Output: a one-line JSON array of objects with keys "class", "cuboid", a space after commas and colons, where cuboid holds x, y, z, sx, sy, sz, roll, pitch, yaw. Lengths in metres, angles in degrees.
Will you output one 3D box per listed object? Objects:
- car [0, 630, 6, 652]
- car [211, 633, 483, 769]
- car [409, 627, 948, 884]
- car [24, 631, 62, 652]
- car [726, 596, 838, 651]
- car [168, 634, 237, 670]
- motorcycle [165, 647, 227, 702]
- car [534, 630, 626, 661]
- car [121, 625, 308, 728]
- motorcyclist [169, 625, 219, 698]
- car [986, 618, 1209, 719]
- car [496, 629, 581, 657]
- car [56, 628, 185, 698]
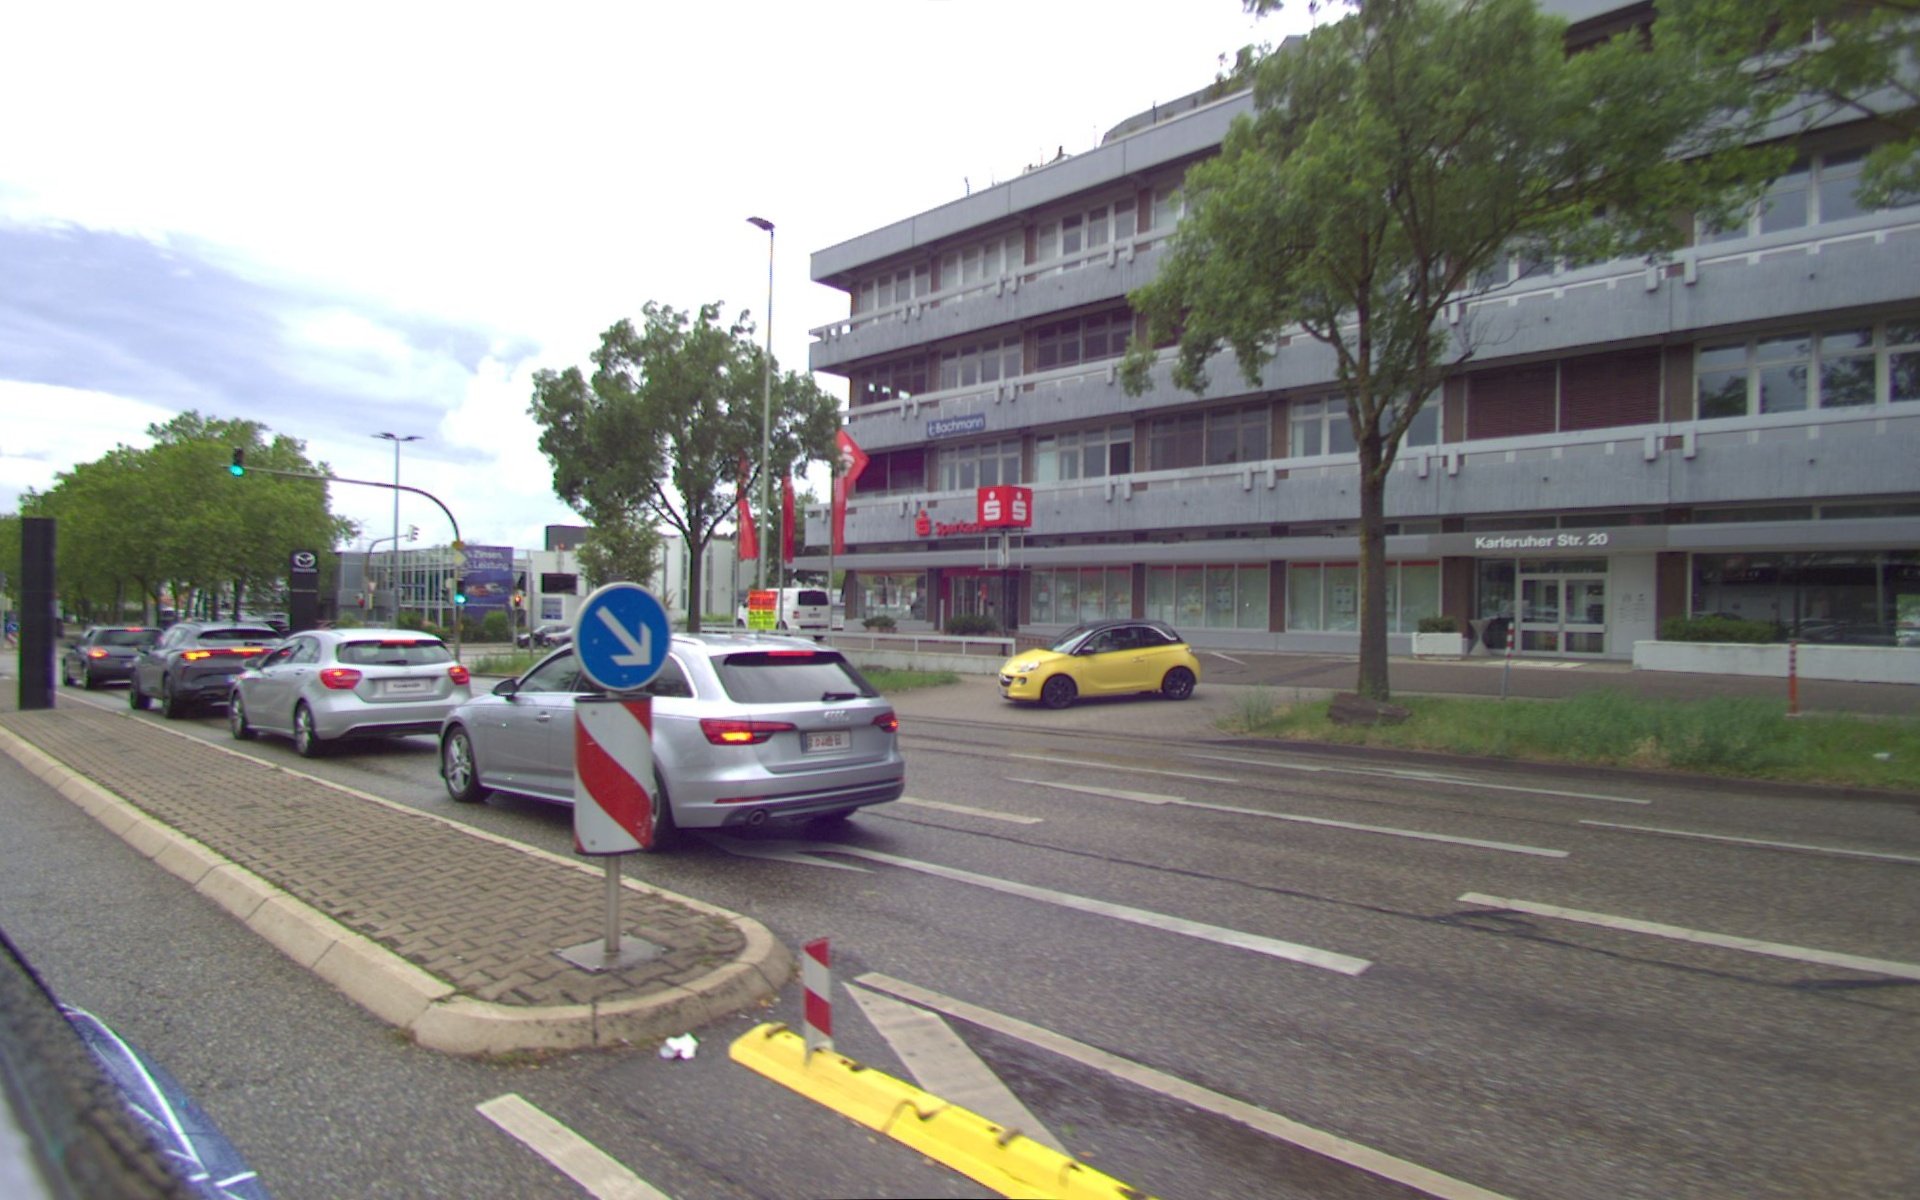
[{"class": "car", "cuboid": [-69.892, 2.953, 72.637, 3.999, 1.522, 1.731, -2, -4, 42]}, {"class": "car", "cuboid": [-7.668, 1.138, 12.524, 3.998, 1.417, 1.722, -2, -4, 41]}, {"class": "car", "cuboid": [-2.387, 0.956, 7.812, 4.614, 1.417, 1.765, -2, -4, 41]}, {"class": "car", "cuboid": [-71.185, 3.231, 78.547, 3.999, 1.587, 1.731, -2, -4, 42]}, {"class": "car", "cuboid": [-7.091, 0.906, 39.913, 1.970, 2.029, 4.890, -1, 0, -43]}, {"class": "car", "cuboid": [-34.961, 2.365, 46.679, 3.998, 1.522, 1.775, -1, 0, 42]}, {"class": "motorcycle", "cuboid": [-16.454, 1.585, 21.773, 1.799, 1.116, 0.695, -2, -4, 42]}, {"class": "car", "cuboid": [-21.441, 2.565, 57.175, 4.456, 1.670, 1.956, 3, -4, -44]}, {"class": "car", "cuboid": [-12.669, 1.230, 17.116, 3.999, 1.536, 1.731, -2, -4, 42]}, {"class": "motorcyclist", "cuboid": [-16.556, 1.313, 21.880, 0.727, 1.539, 0.684, -2, -4, 41]}, {"class": "car", "cuboid": [2.470, 1.190, 18.465, 3.650, 1.520, 1.626, -2, 2, -12]}, {"class": "car", "cuboid": [-26.294, 2.688, 63.190, 4.456, 1.670, 1.956, 3, -4, -44]}, {"class": "car", "cuboid": [-19.971, 1.463, 24.027, 3.999, 1.522, 1.731, -2, -4, 42]}]
